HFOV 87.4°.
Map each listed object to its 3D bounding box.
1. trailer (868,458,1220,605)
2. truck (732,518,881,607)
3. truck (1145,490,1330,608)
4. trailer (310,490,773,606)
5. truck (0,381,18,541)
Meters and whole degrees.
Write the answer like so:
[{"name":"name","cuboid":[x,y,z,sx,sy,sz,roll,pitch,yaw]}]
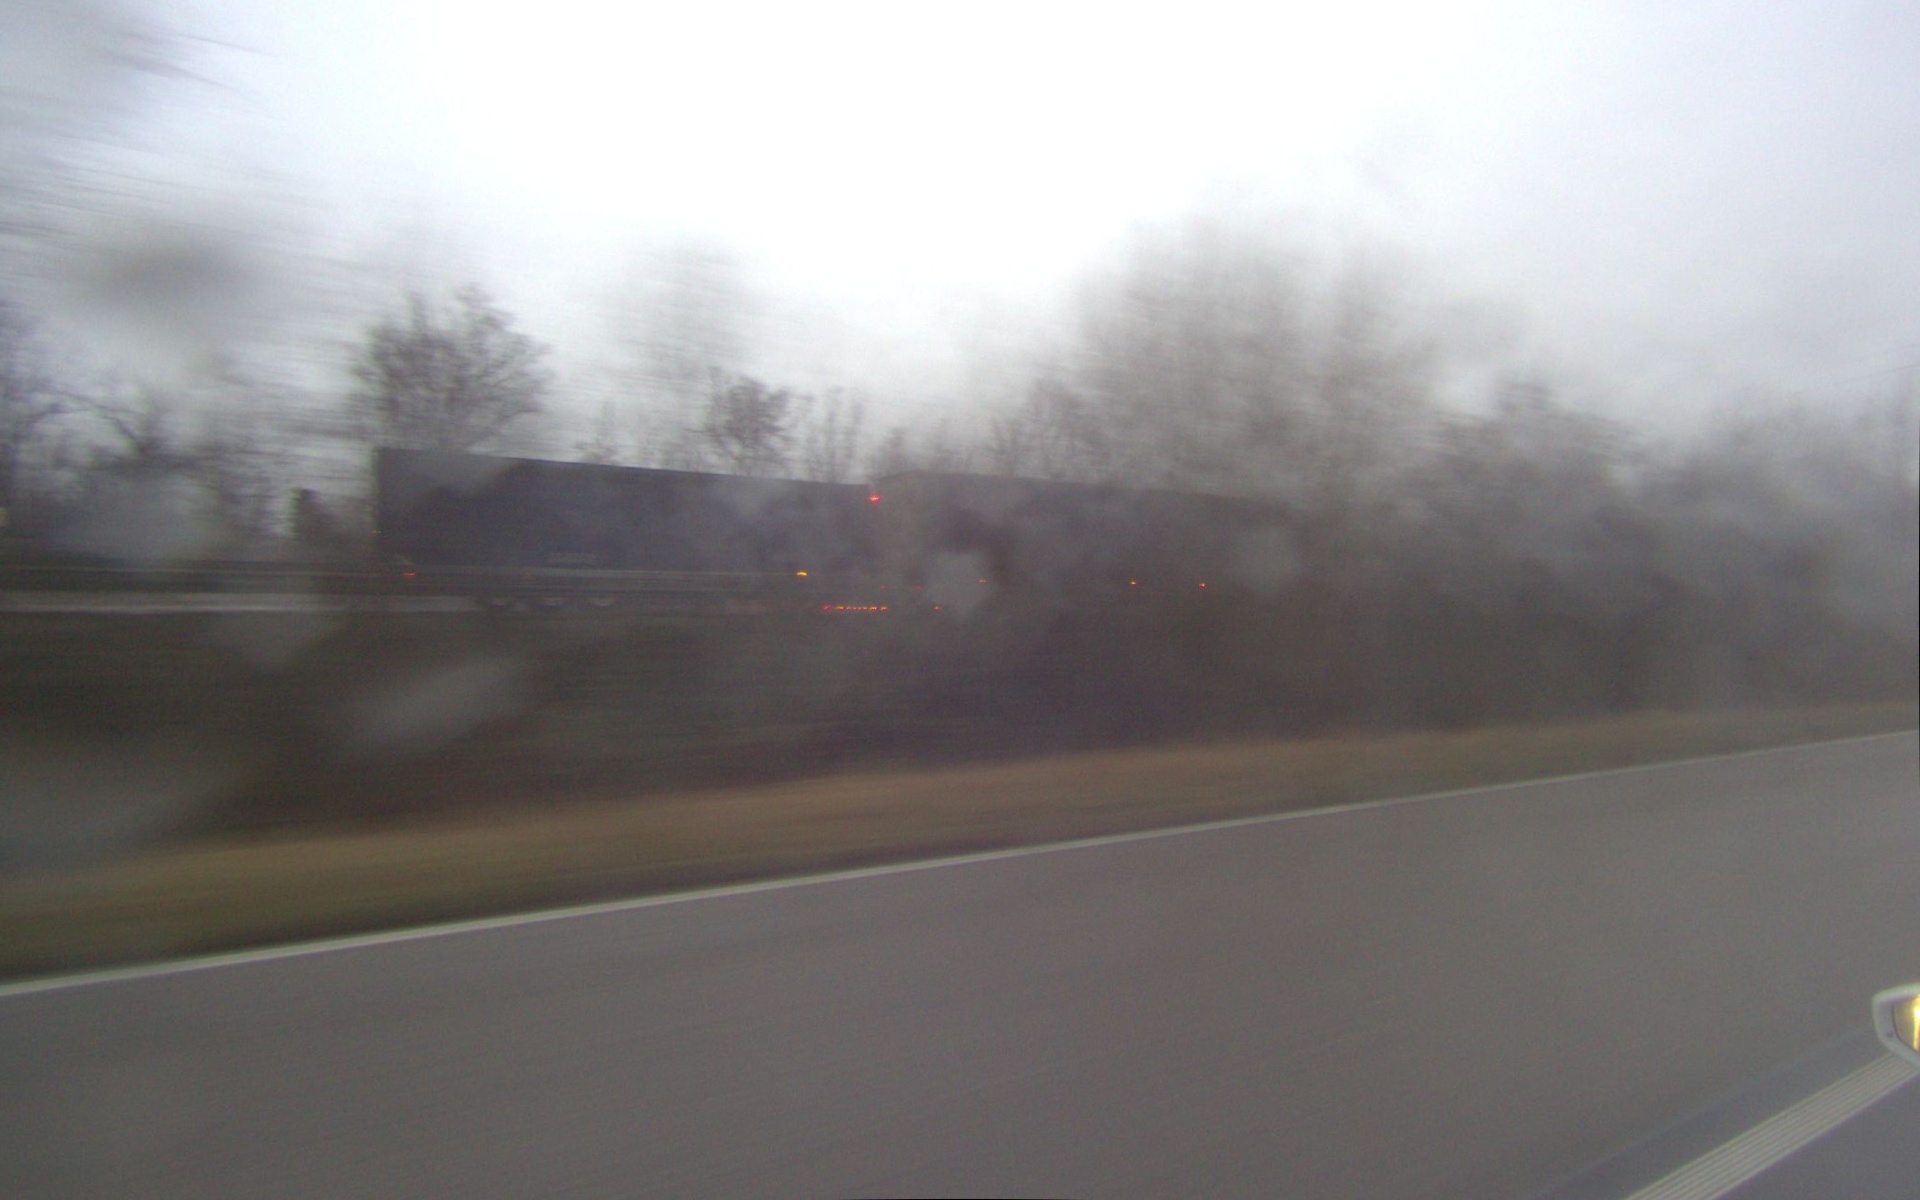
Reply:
[{"name":"trailer","cuboid":[2.892,-1.829,31.178,11.256,3.682,2.983,2,-1,-31]},{"name":"truck","cuboid":[-4.784,-1.072,31.271,3.953,2.468,2.518,1,-2,-30]},{"name":"truck","cuboid":[9.799,-1.627,35.355,5.997,3.680,2.977,1,-1,-31]},{"name":"trailer","cuboid":[-10.993,-1.213,27.620,11.367,2.456,2.497,2,-2,-30]},{"name":"truck","cuboid":[-20.188,-2.679,17.121,5.519,2.925,2.438,1,-1,-31]}]
